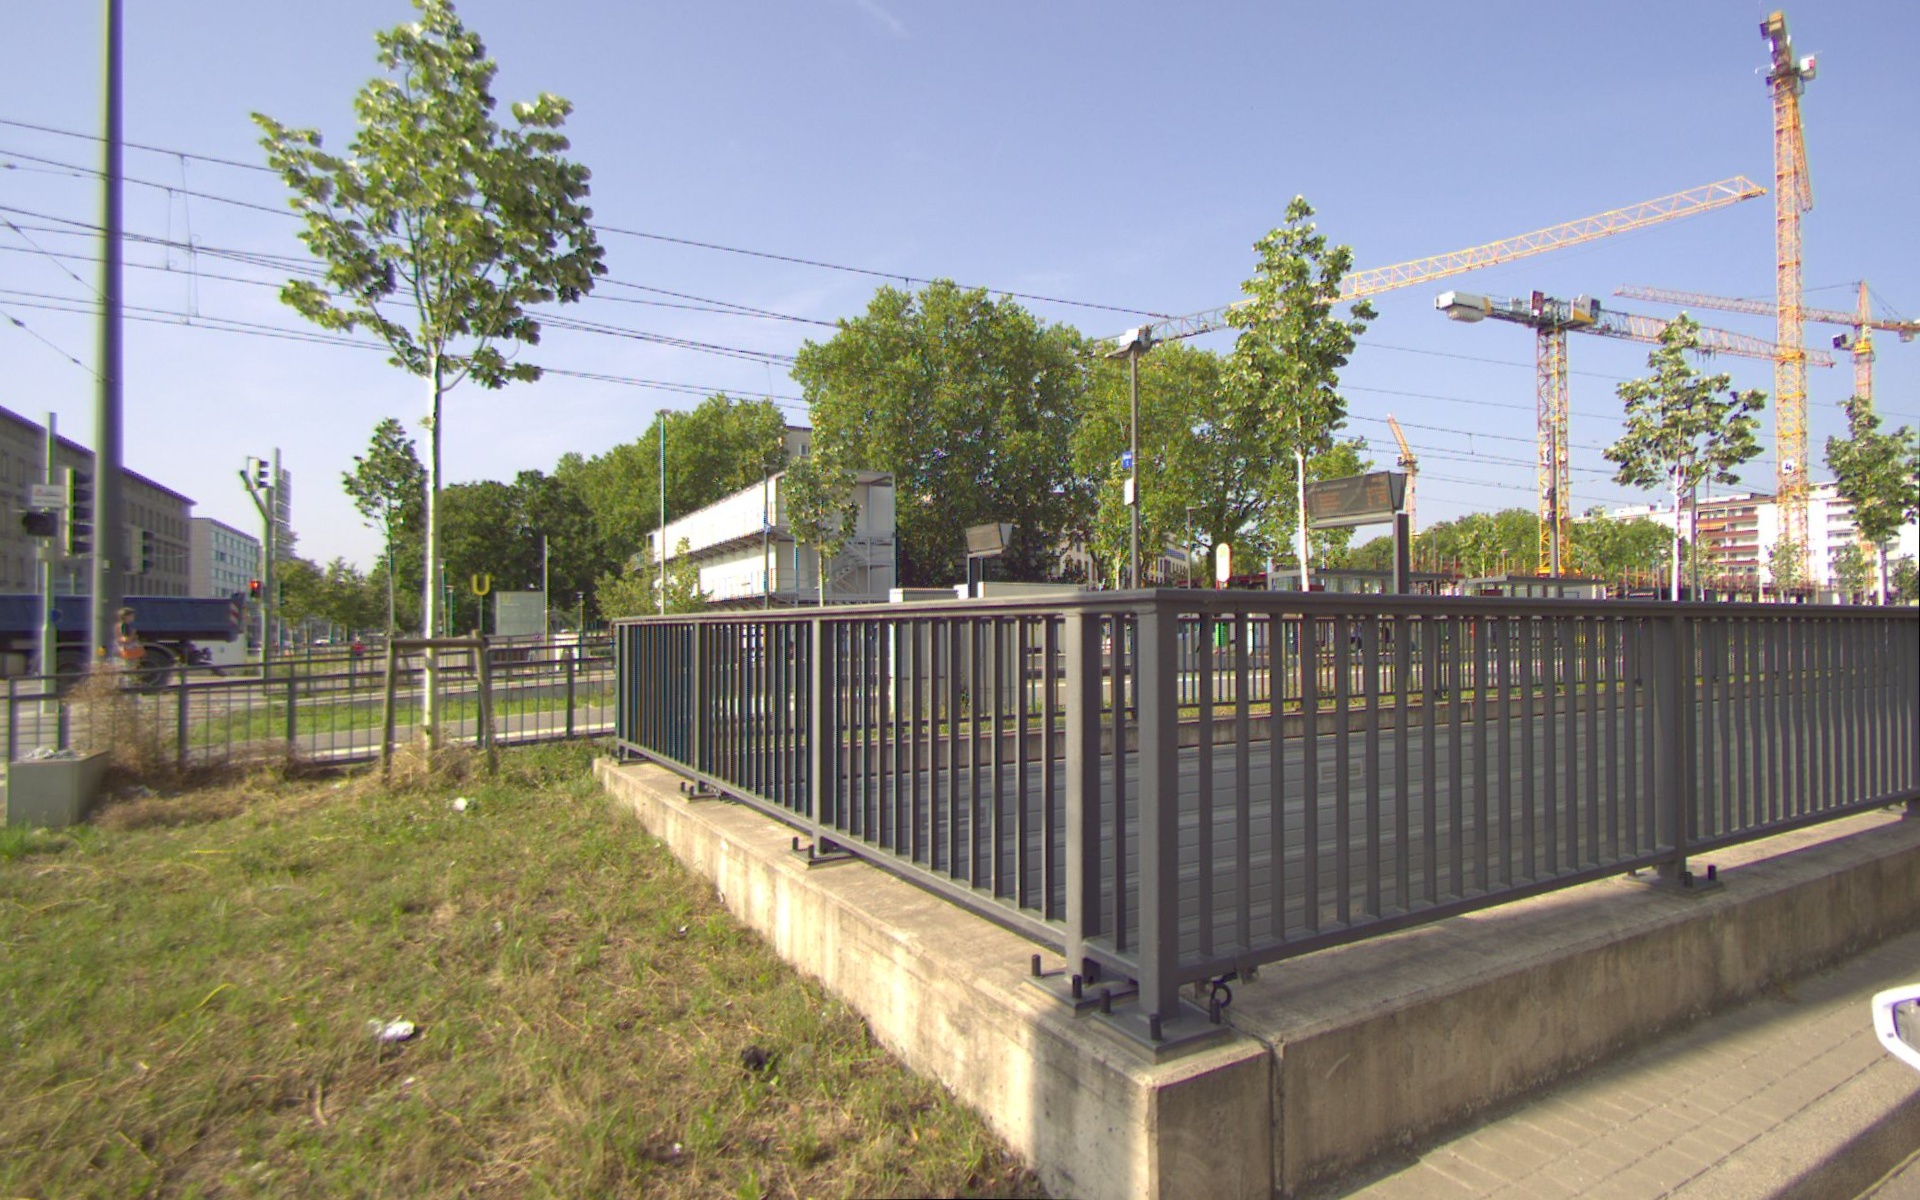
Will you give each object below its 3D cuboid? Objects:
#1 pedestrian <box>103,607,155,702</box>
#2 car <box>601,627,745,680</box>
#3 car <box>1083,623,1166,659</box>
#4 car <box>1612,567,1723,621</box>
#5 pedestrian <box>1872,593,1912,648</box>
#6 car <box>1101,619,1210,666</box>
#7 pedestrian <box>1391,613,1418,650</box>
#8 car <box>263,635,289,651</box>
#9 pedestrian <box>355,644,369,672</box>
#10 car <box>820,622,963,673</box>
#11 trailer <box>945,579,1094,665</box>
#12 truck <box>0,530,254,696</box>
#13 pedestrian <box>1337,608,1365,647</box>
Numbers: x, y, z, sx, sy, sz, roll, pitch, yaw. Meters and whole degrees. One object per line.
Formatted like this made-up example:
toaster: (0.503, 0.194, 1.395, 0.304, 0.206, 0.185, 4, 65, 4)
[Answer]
pedestrian: (-15.028, 0.977, 18.173, 0.629, 1.698, 0.370, 0, -1, -15)
car: (-8.203, 1.482, 28.803, 3.661, 1.379, 1.709, 0, -1, -35)
car: (7.239, 1.782, 44.227, 3.394, 1.483, 1.588, 0, -1, -31)
car: (49.262, -0.327, 69.880, 9.130, 3.559, 3.038, 0, -1, -32)
pedestrian: (28.457, 0.619, 30.677, 0.703, 1.640, 0.732, 0, -1, -32)
car: (7.581, 1.606, 38.850, 4.103, 1.684, 1.712, 0, -1, -31)
pedestrian: (15.925, 1.132, 36.004, 0.586, 1.317, 0.676, 0, -1, -34)
car: (-75.309, 4.738, 110.689, 1.864, 1.741, 3.972, 0, -1, -27)
pedestrian: (-26.536, 2.576, 44.573, 0.531, 1.233, 0.441, 0, 0, -29)
car: (-2.155, 1.486, 32.083, 4.355, 1.489, 1.634, 0, -1, -33)
trailer: (2.125, 0.748, 35.295, 4.965, 2.818, 2.033, 1, 0, -32)
truck: (-21.820, 0.318, 23.253, 8.813, 3.634, 2.998, 0, -1, -39)
pedestrian: (13.469, 0.945, 34.582, 0.586, 1.317, 0.676, 0, -1, -34)
